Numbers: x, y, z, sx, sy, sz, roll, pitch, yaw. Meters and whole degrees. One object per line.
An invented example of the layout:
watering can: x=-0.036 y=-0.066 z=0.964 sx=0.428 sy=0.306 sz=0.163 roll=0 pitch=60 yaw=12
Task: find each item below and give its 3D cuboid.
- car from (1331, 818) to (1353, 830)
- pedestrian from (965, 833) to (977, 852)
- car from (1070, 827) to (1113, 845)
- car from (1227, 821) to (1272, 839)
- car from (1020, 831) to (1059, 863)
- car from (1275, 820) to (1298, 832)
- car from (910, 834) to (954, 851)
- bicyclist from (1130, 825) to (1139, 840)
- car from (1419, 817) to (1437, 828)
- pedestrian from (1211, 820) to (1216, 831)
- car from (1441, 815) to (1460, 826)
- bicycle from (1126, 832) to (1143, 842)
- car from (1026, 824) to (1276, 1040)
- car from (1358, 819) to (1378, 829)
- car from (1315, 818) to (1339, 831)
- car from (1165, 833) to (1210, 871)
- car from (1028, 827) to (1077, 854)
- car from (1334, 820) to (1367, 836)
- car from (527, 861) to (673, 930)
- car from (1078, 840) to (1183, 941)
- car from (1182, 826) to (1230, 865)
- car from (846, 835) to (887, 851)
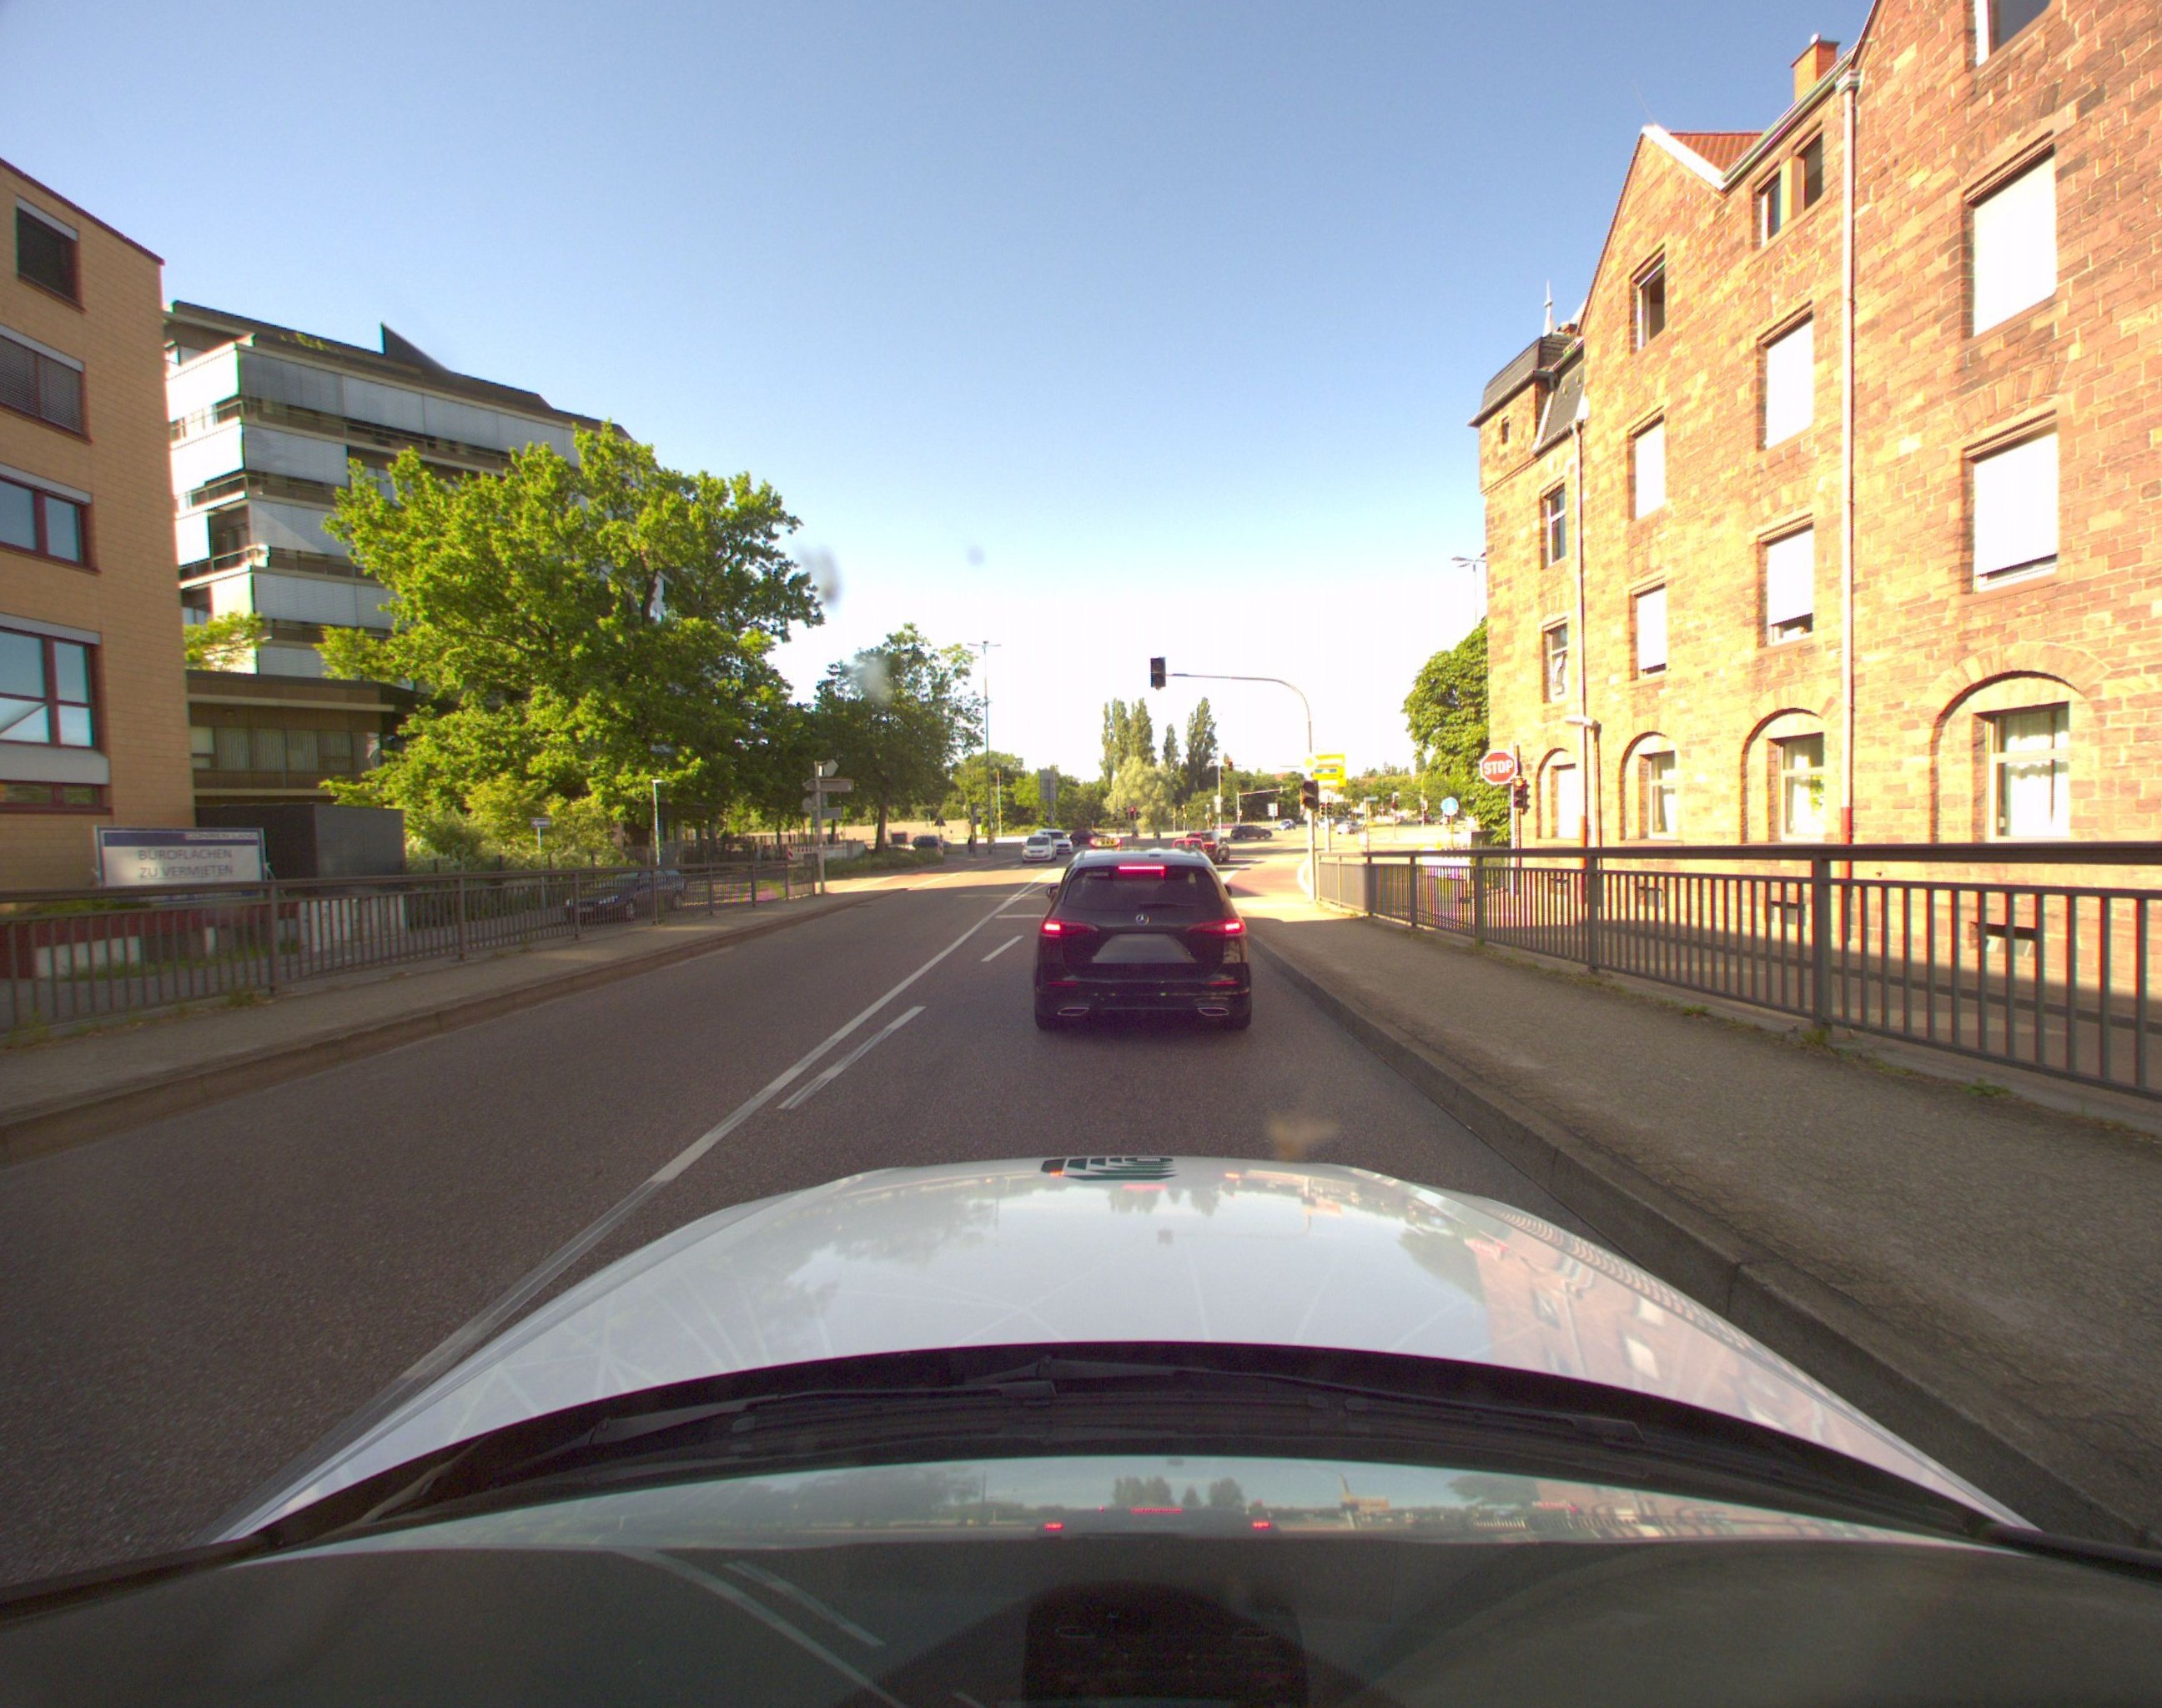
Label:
car: x=37.691 y=-4.346 z=117.536 sx=1.860 sy=1.578 sz=4.026 roll=-1 pitch=2 yaw=37
pedestrian: x=-8.954 y=-0.950 z=66.362 sx=0.700 sy=1.525 sz=0.746 roll=-1 pitch=1 yaw=12
car: x=1.073 y=-1.737 z=79.318 sx=3.968 sy=1.629 sz=1.894 roll=-2 pitch=1 yaw=5
car: x=16.813 y=-2.386 z=81.248 sx=3.997 sy=1.629 sz=1.880 roll=-2 pitch=1 yaw=-18
car: x=-2.419 y=-0.467 z=48.478 sx=1.770 sy=1.635 sz=4.006 roll=-3 pitch=3 yaw=4
car: x=29.783 y=-4.014 z=117.917 sx=1.860 sy=1.578 sz=4.026 roll=-1 pitch=2 yaw=37
car: x=-15.361 y=-1.141 z=84.033 sx=4.354 sy=1.629 sz=1.903 roll=-1 pitch=2 yaw=36
bicyclist: x=5.815 y=-2.349 z=88.572 sx=0.811 sy=1.551 sz=0.521 roll=-4 pitch=1 yaw=-41
car: x=52.953 y=-4.805 z=124.238 sx=1.866 sy=1.547 sz=4.025 roll=-1 pitch=0 yaw=34
pedestrian: x=18.931 y=-4.132 z=116.605 sx=0.446 sy=1.585 sz=0.505 roll=-2 pitch=2 yaw=42
car: x=53.041 y=-4.820 z=116.874 sx=1.722 sy=1.497 sz=4.026 roll=-2 pitch=0 yaw=35
bicycle: x=5.829 y=-1.857 z=88.593 sx=2.001 sy=1.050 sz=0.521 roll=-4 pitch=2 yaw=-41
car: x=0.573 y=0.563 z=8.128 sx=1.871 sy=1.613 sz=4.001 roll=0 pitch=1 yaw=1
car: x=47.343 y=-4.959 z=134.270 sx=1.860 sy=1.578 sz=4.026 roll=-1 pitch=2 yaw=37
car: x=34.035 y=-4.081 z=112.433 sx=1.860 sy=1.578 sz=4.026 roll=-1 pitch=2 yaw=37
car: x=4.959 y=-0.138 z=37.524 sx=1.710 sy=1.521 sz=3.499 roll=-1 pitch=3 yaw=12
car: x=-2.158 y=-0.968 z=59.544 sx=1.926 sy=1.794 sz=4.862 roll=-3 pitch=2 yaw=-22
car: x=29.372 y=-2.828 z=88.765 sx=1.867 sy=1.629 sz=4.025 roll=-1 pitch=2 yaw=42
car: x=-14.251 y=1.155 z=24.437 sx=1.845 sy=1.692 sz=4.002 roll=-2 pitch=2 yaw=1
car: x=0.913 y=0.567 z=14.967 sx=1.633 sy=1.529 sz=3.478 roll=-3 pitch=1 yaw=4
car: x=6.706 y=-0.490 z=43.221 sx=1.707 sy=1.811 sz=4.319 roll=-2 pitch=3 yaw=19
car: x=-23.837 y=-1.170 z=90.623 sx=4.354 sy=1.629 sz=1.903 roll=-1 pitch=1 yaw=33
